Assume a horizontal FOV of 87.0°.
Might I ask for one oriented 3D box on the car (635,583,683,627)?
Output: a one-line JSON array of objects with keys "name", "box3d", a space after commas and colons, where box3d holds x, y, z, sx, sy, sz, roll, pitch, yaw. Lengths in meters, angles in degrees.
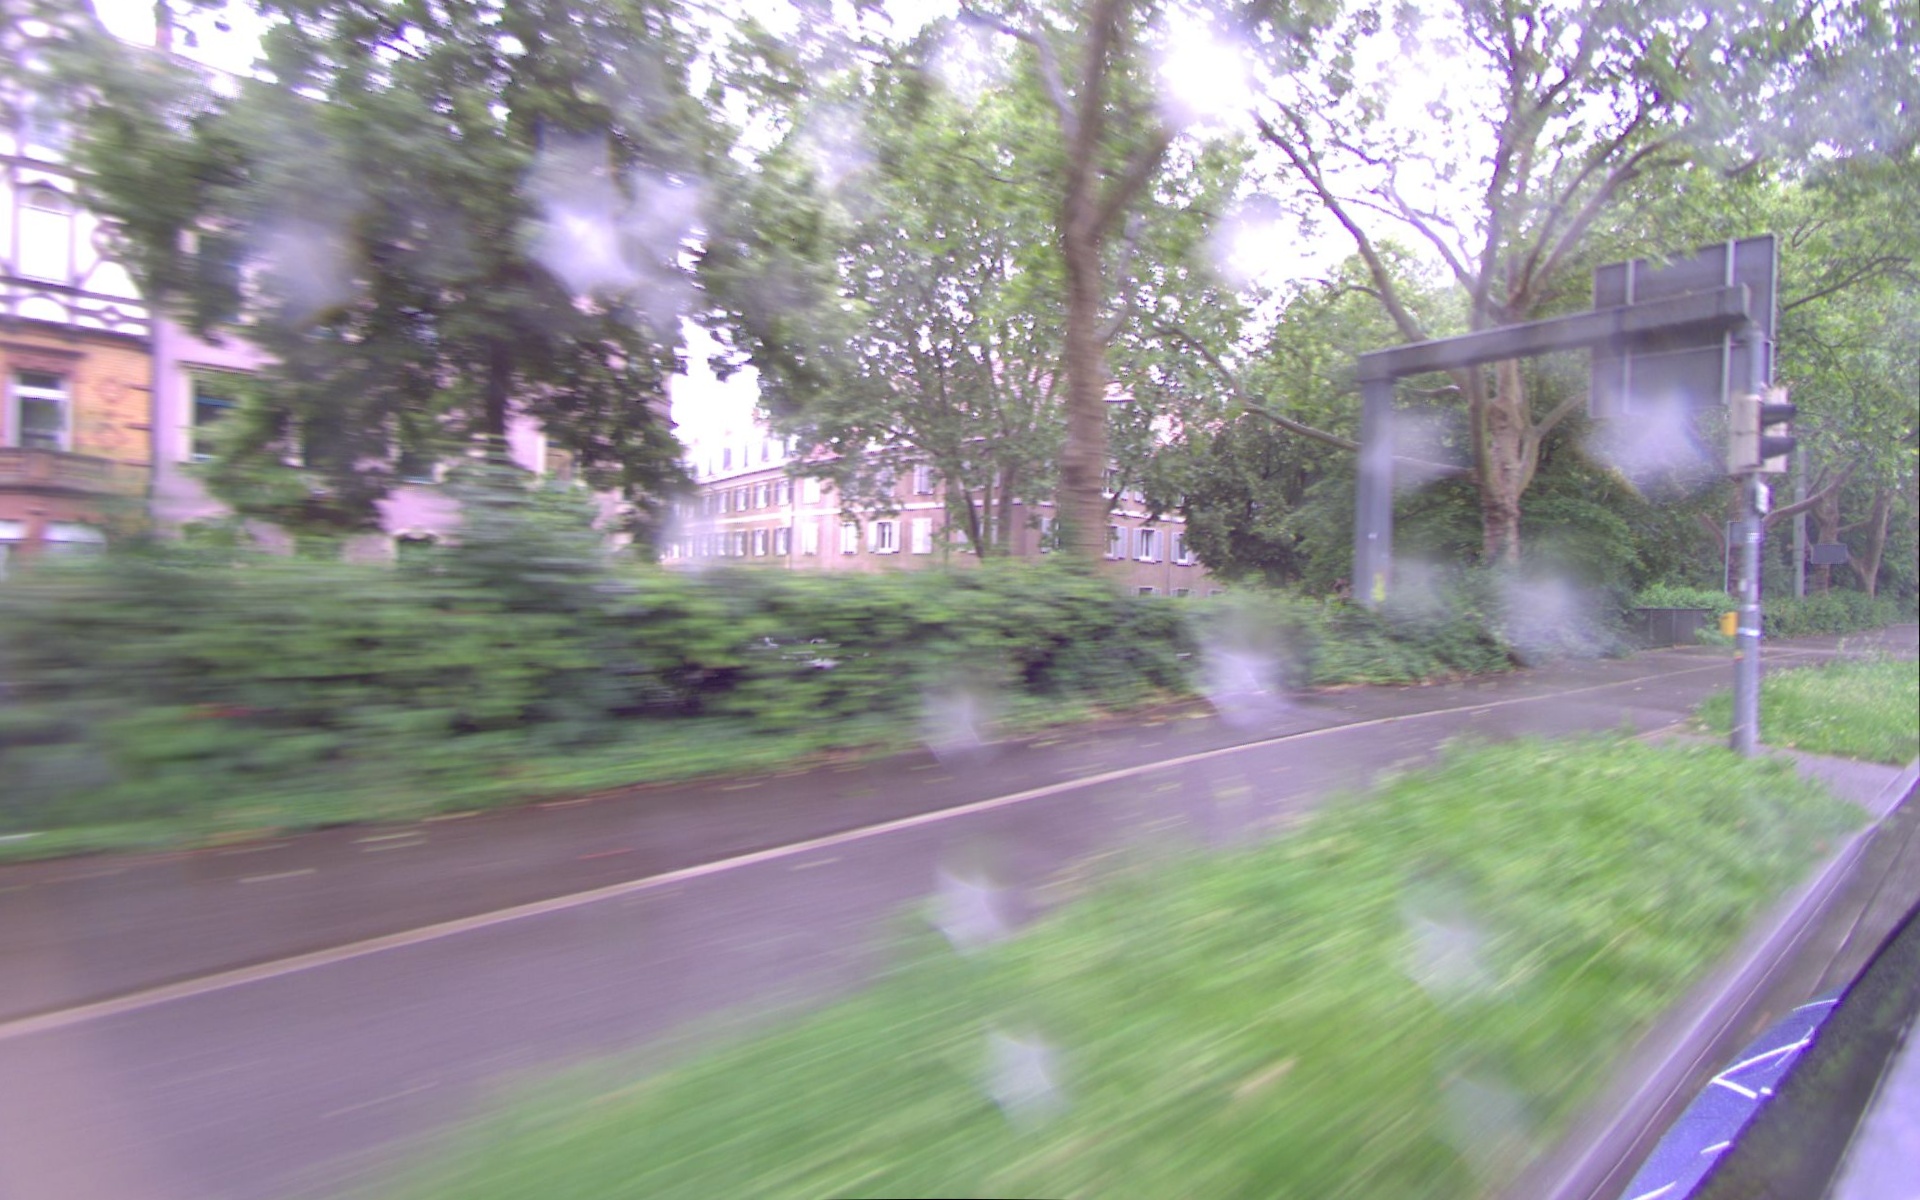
[{"name": "car", "box3d": [-19.722, 0.293, 66.247, 1.889, 2.739, 3.910, -1, 1, -34]}]
